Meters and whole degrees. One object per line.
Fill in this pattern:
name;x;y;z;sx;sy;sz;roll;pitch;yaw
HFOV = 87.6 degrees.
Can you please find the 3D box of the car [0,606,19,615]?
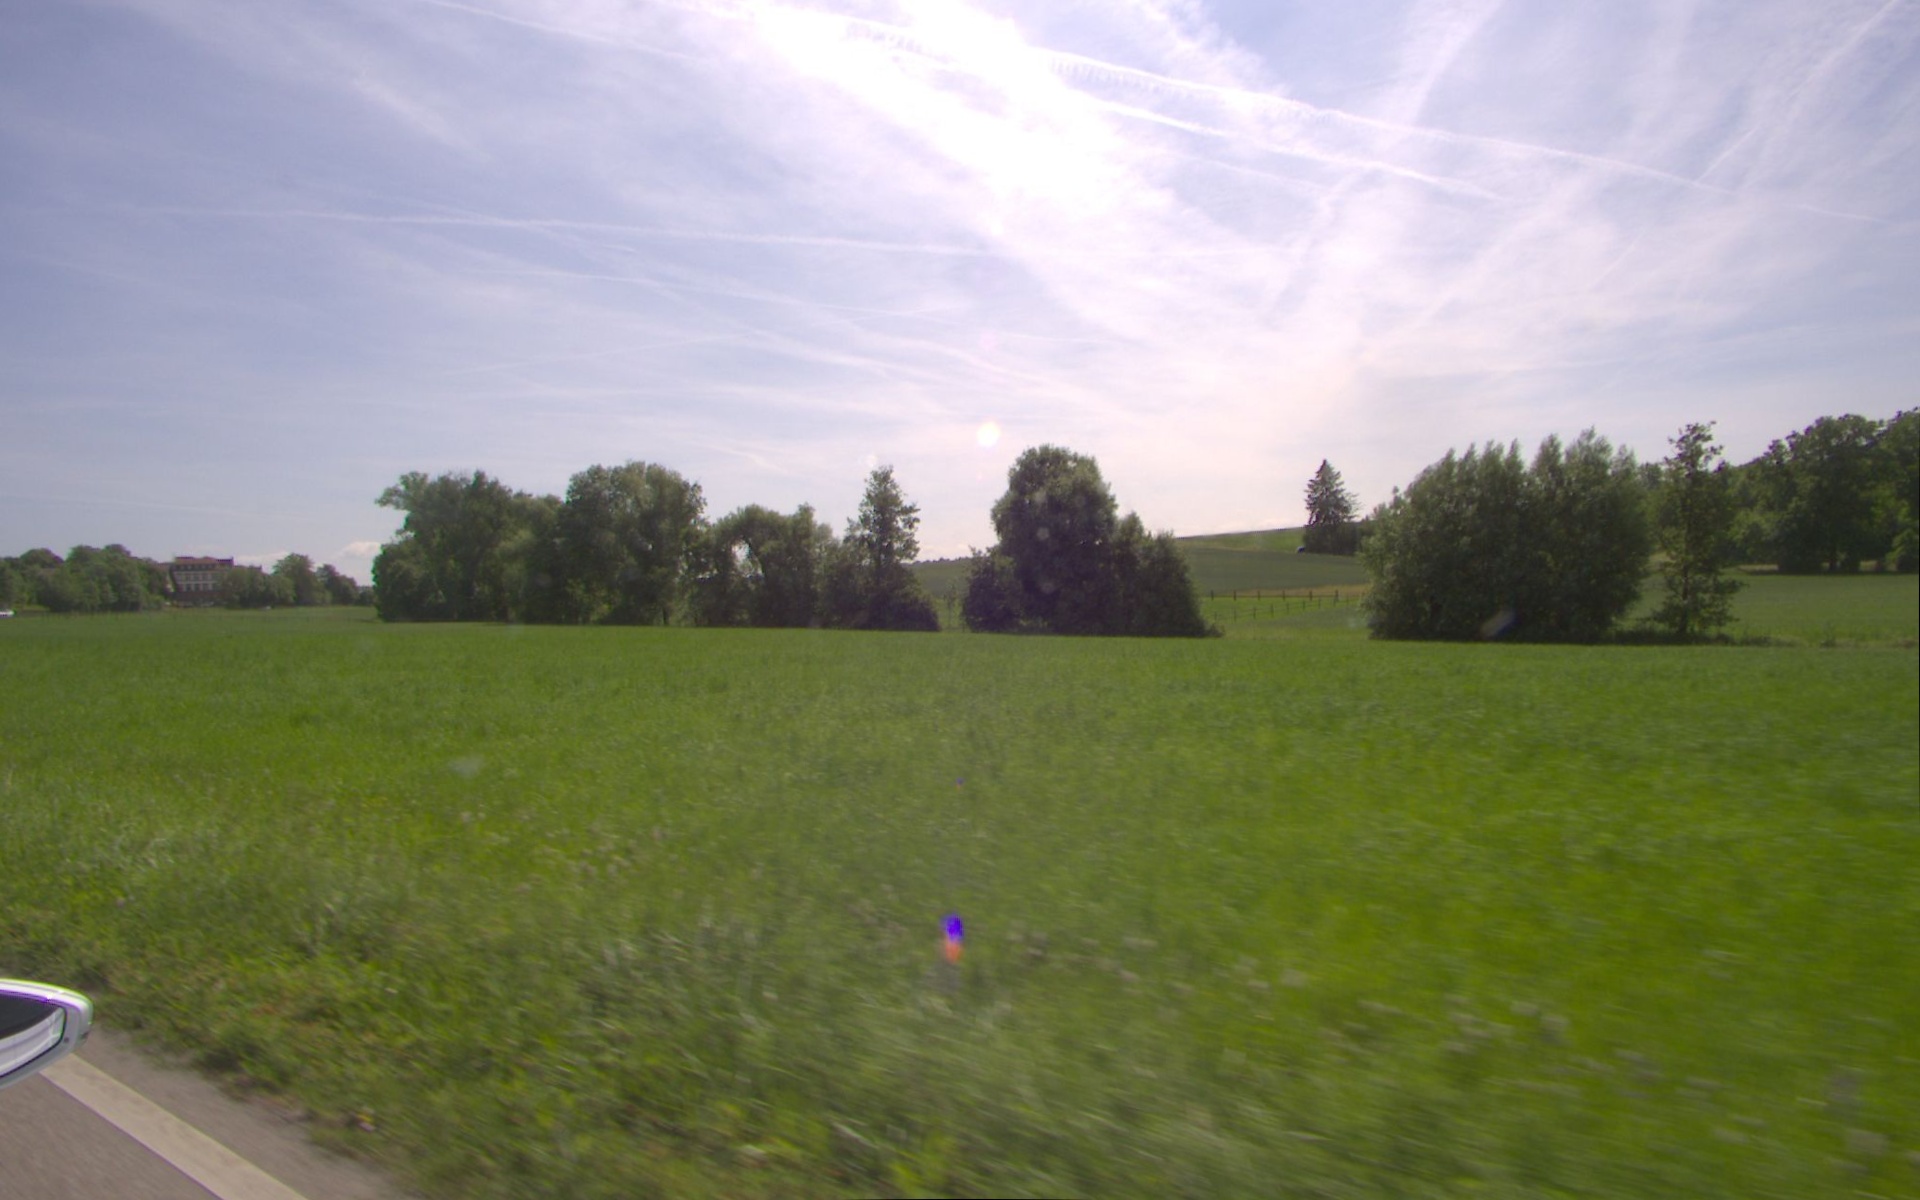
car;-166.363;1.839;174.505;1.912;1.568;4.612;0;-1;-24
